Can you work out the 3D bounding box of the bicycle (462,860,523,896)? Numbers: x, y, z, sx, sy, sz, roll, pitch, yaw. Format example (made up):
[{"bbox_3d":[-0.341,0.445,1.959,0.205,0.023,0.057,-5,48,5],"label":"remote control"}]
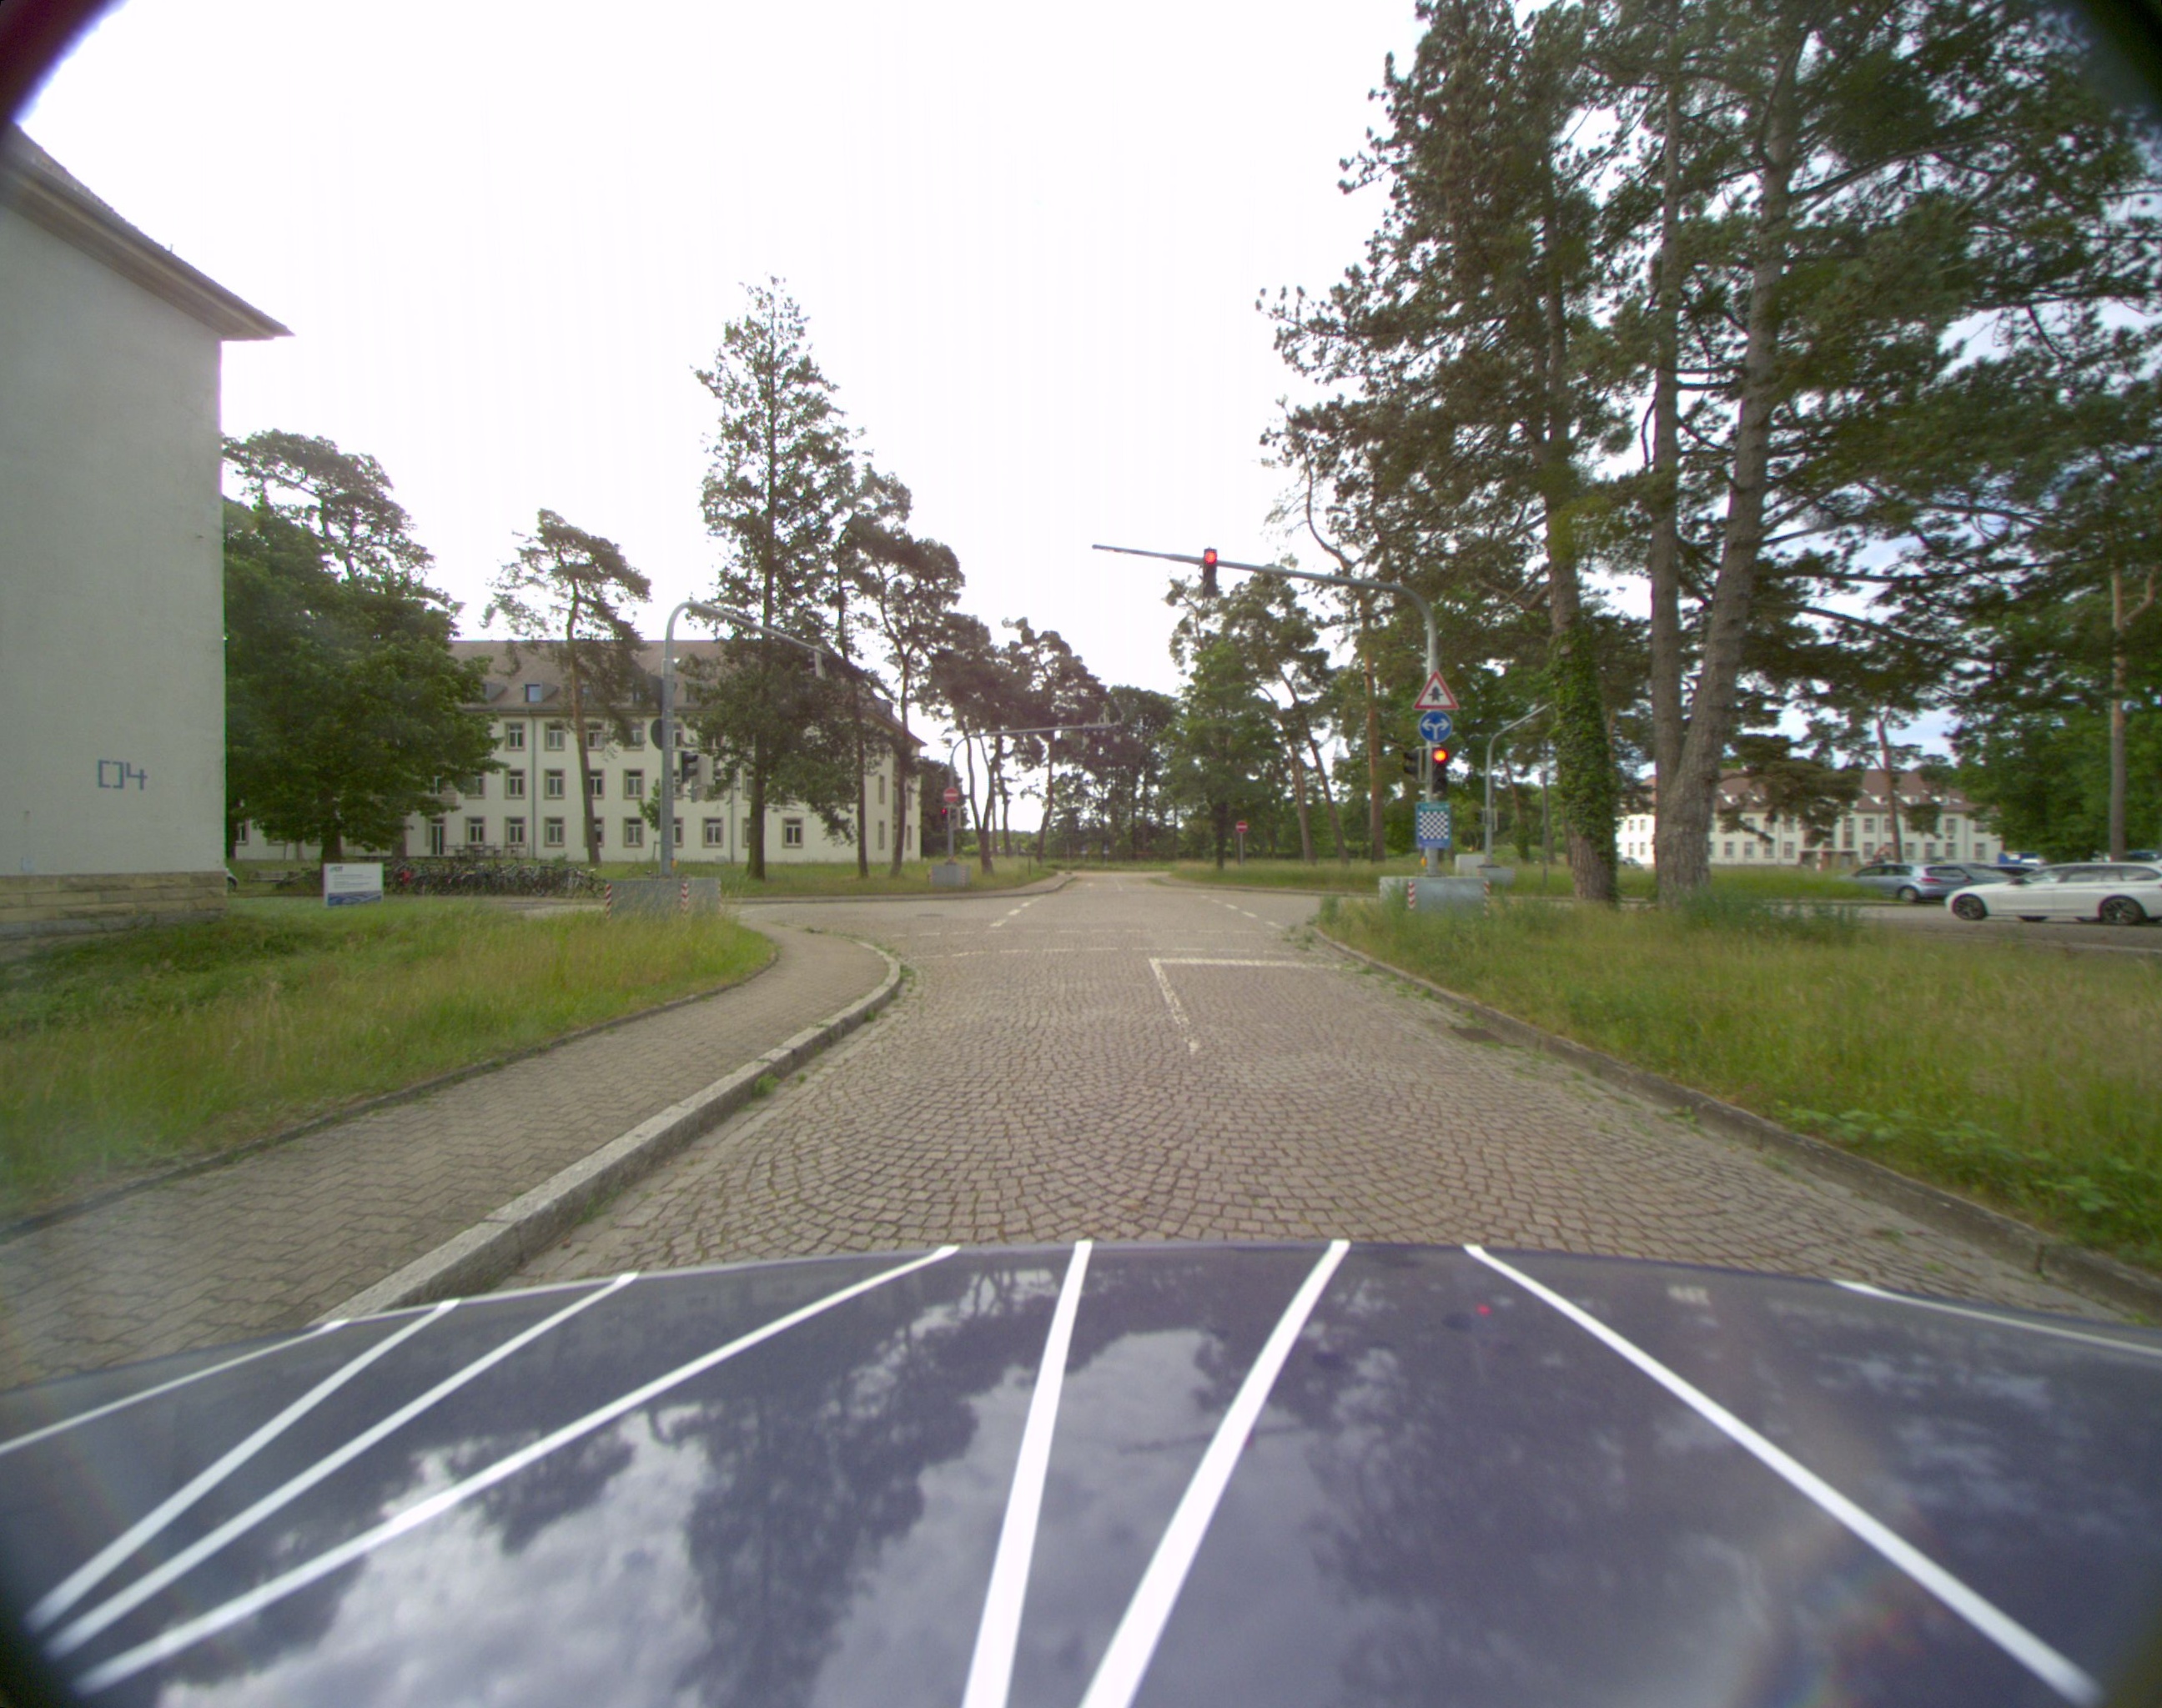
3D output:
[{"bbox_3d":[-20.841,0.841,26.951,0.624,1.240,1.989,0,-1,1],"label":"bicycle"}]

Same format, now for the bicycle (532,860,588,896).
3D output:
[{"bbox_3d":[-18.424,0.840,26.915,0.624,1.240,1.989,0,-1,1],"label":"bicycle"}]

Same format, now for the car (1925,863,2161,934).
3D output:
[{"bbox_3d":[23.609,1.013,18.047,1.865,1.479,4.755,1,-1,0],"label":"car"}]

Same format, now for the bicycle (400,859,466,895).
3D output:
[{"bbox_3d":[-22.957,0.795,26.966,0.624,1.240,1.989,0,-1,1],"label":"bicycle"}]

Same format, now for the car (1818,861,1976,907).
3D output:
[{"bbox_3d":[30.968,1.081,29.044,1.696,1.421,4.012,1,3,1],"label":"car"}]

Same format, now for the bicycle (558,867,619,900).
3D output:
[{"bbox_3d":[-16.440,0.963,25.359,1.675,1.076,0.624,0,0,6],"label":"bicycle"}]

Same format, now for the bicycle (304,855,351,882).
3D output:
[{"bbox_3d":[-32.346,0.621,32.629,0.400,1.118,1.554,0,0,4],"label":"bicycle"}]

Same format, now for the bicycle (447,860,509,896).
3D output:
[{"bbox_3d":[-21.366,0.841,26.976,0.624,1.240,1.989,0,-1,1],"label":"bicycle"}]

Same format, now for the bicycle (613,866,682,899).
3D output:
[{"bbox_3d":[-14.485,0.948,25.390,1.986,1.107,0.624,0,0,5],"label":"bicycle"}]

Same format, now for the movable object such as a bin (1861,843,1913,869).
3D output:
[{"bbox_3d":[116.859,0.333,110.254,2.050,3.747,5.467,0,-1,6],"label":"movable object such as a bin"}]

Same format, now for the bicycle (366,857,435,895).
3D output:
[{"bbox_3d":[-24.111,0.748,26.966,0.624,1.241,1.988,0,2,1],"label":"bicycle"}]

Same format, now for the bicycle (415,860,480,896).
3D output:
[{"bbox_3d":[-22.444,0.842,26.979,0.624,1.240,1.989,0,-1,1],"label":"bicycle"}]

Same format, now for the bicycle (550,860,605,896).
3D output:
[{"bbox_3d":[-17.796,0.839,26.903,0.624,1.240,1.989,0,-1,1],"label":"bicycle"}]

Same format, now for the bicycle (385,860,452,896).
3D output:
[{"bbox_3d":[-23.452,0.842,26.958,0.624,1.240,1.989,0,-1,1],"label":"bicycle"}]

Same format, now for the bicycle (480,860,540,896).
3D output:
[{"bbox_3d":[-20.209,0.840,26.933,0.624,1.240,1.989,0,-1,1],"label":"bicycle"}]

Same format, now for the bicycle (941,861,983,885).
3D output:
[{"bbox_3d":[-5.127,0.806,32.770,1.675,0.965,0.582,2,3,6],"label":"bicycle"}]

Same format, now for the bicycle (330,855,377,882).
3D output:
[{"bbox_3d":[-31.119,0.622,32.529,0.400,1.118,1.554,0,0,4],"label":"bicycle"}]

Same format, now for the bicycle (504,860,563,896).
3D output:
[{"bbox_3d":[-19.350,0.840,26.918,0.624,1.240,1.989,0,-1,1],"label":"bicycle"}]

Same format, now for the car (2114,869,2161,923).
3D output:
[{"bbox_3d":[28.814,1.038,18.324,1.721,1.415,4.451,0,-2,0],"label":"car"}]

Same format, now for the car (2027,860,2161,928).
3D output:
[{"bbox_3d":[26.161,0.957,18.027,1.872,1.588,4.376,0,-1,-3],"label":"car"}]

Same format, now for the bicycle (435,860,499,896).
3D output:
[{"bbox_3d":[-21.708,0.841,26.920,0.624,1.240,1.989,0,-1,1],"label":"bicycle"}]
